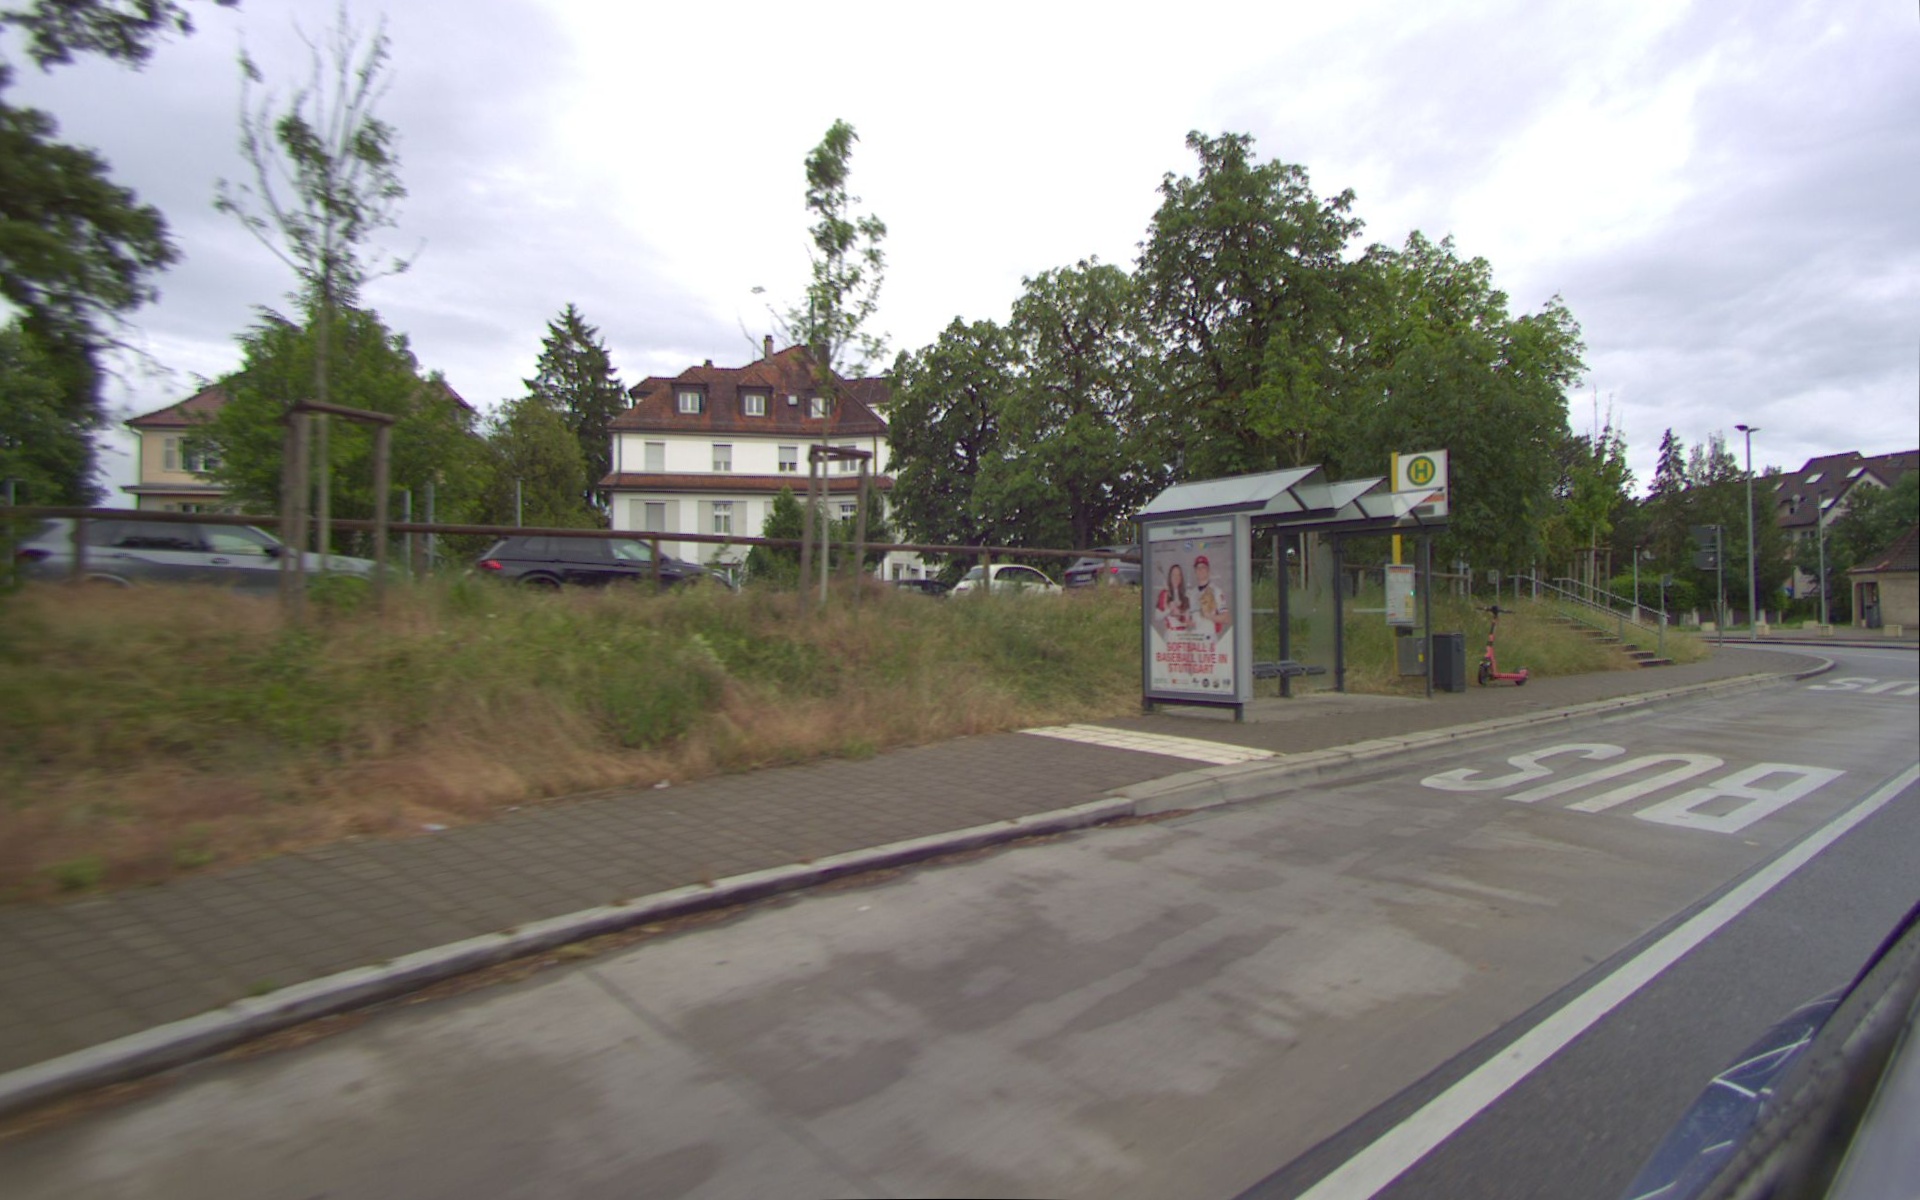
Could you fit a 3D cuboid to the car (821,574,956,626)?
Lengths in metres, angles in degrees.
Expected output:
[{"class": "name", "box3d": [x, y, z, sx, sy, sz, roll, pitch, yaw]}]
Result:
[{"class": "car", "box3d": [-2.285, -0.007, 33.011, 3.996, 1.499, 1.889, -1, -3, -39]}]

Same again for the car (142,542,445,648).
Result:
[{"class": "car", "box3d": [-11.929, -0.050, 18.395, 4.386, 1.684, 1.999, 0, -4, -34]}]

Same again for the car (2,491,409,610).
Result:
[{"class": "car", "box3d": [-11.090, -0.689, 15.336, 4.689, 1.499, 1.892, -1, -2, -33]}]

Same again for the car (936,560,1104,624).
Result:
[{"class": "car", "box3d": [1.581, -0.223, 26.298, 3.990, 1.499, 1.892, -1, -2, -33]}]

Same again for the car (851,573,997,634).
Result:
[{"class": "car", "box3d": [-1.073, 0.125, 30.547, 3.923, 1.684, 1.999, 0, -4, -34]}]

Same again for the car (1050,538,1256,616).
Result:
[{"class": "car", "box3d": [4.277, -0.491, 22.313, 4.201, 1.499, 2.000, -1, -2, -33]}]

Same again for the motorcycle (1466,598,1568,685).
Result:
[{"class": "motorcycle", "box3d": [8.739, 0.625, 15.877, 1.506, 1.305, 0.592, 0, -1, -24]}]

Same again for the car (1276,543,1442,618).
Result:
[{"class": "car", "box3d": [10.148, -0.455, 25.688, 3.923, 1.684, 1.999, 0, -4, -34]}]

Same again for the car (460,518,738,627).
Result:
[{"class": "car", "box3d": [-6.488, -0.420, 18.321, 4.386, 1.684, 1.999, 0, -4, -34]}]
